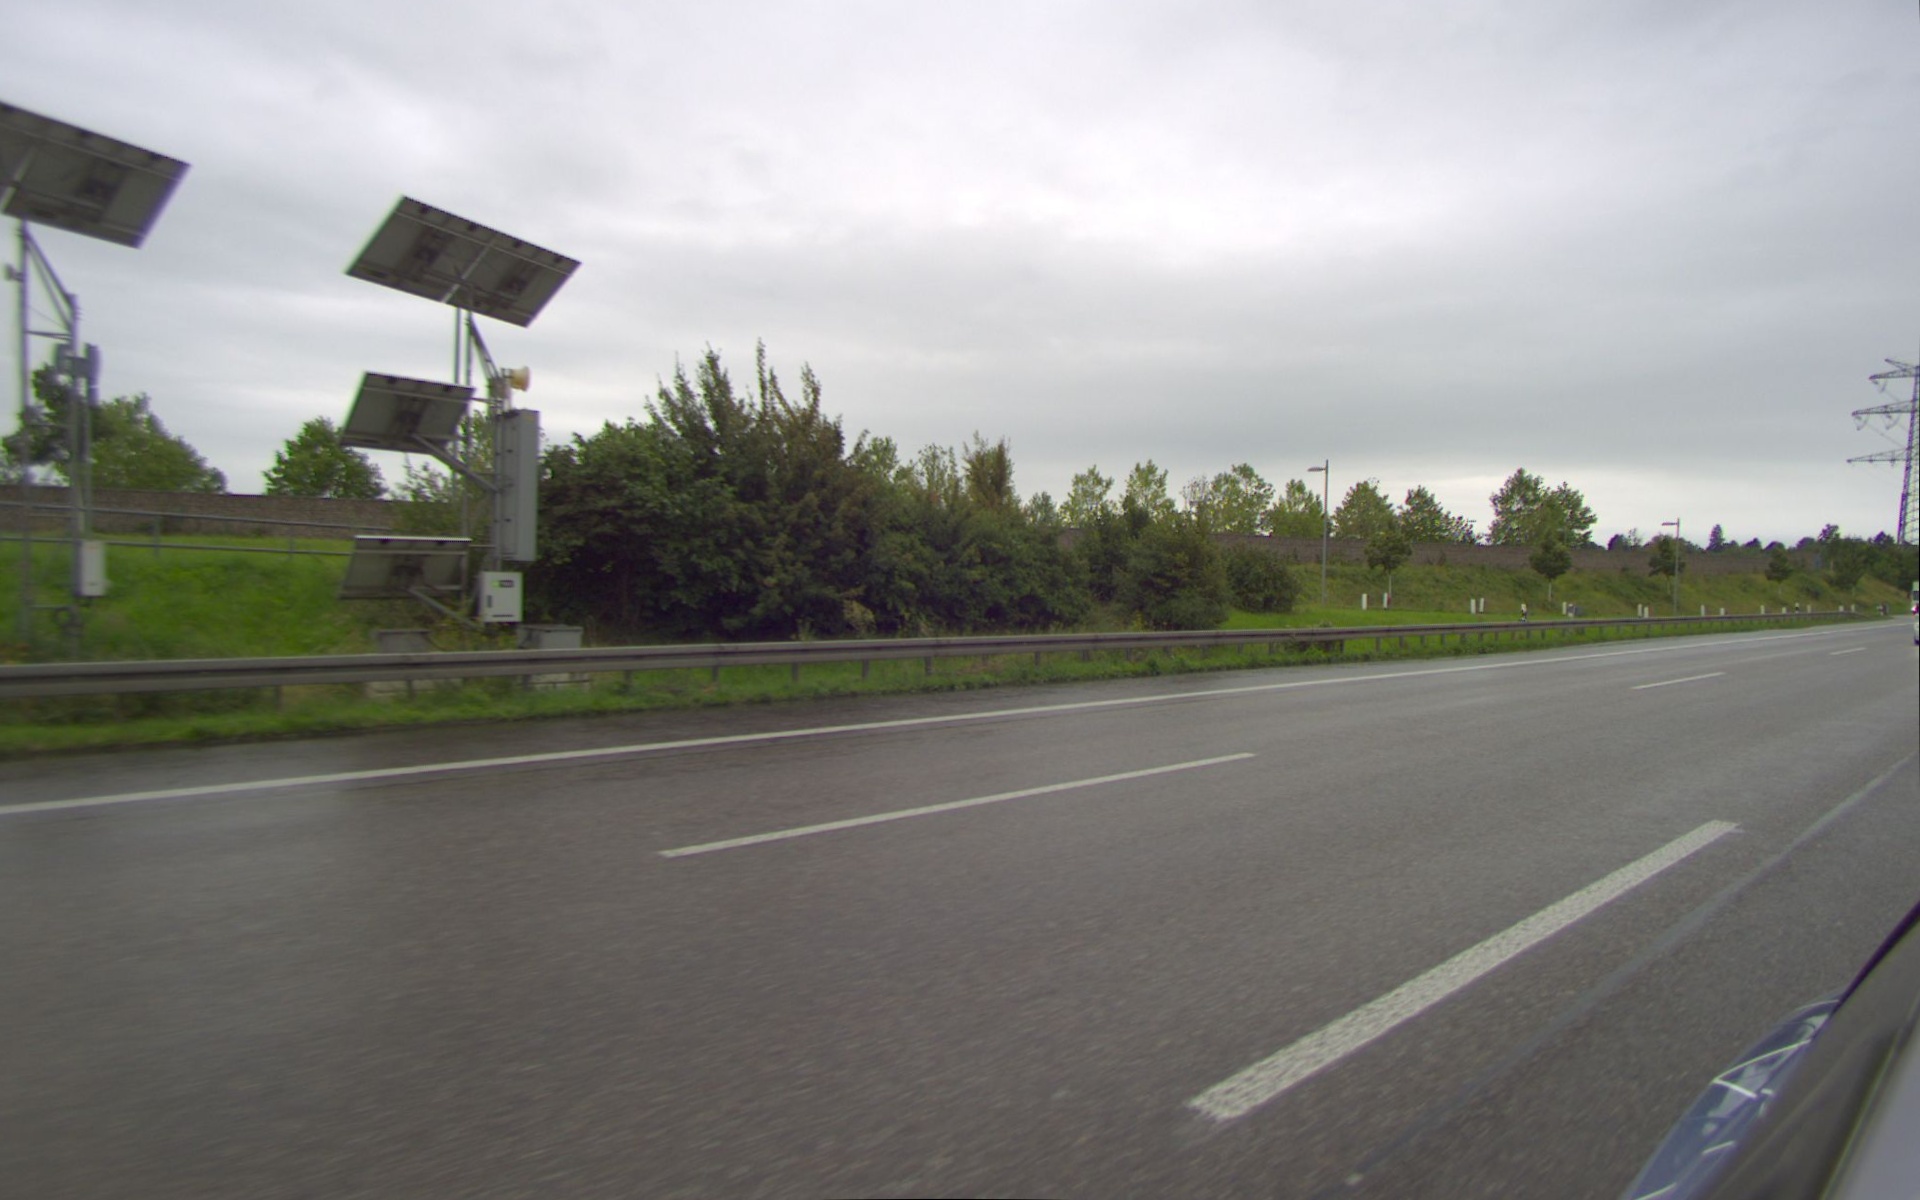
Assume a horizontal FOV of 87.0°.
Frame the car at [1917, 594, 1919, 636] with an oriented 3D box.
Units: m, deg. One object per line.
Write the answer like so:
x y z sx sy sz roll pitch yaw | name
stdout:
35.248 0.507 35.386 3.927 1.444 1.999 -1 1 -37 | car
